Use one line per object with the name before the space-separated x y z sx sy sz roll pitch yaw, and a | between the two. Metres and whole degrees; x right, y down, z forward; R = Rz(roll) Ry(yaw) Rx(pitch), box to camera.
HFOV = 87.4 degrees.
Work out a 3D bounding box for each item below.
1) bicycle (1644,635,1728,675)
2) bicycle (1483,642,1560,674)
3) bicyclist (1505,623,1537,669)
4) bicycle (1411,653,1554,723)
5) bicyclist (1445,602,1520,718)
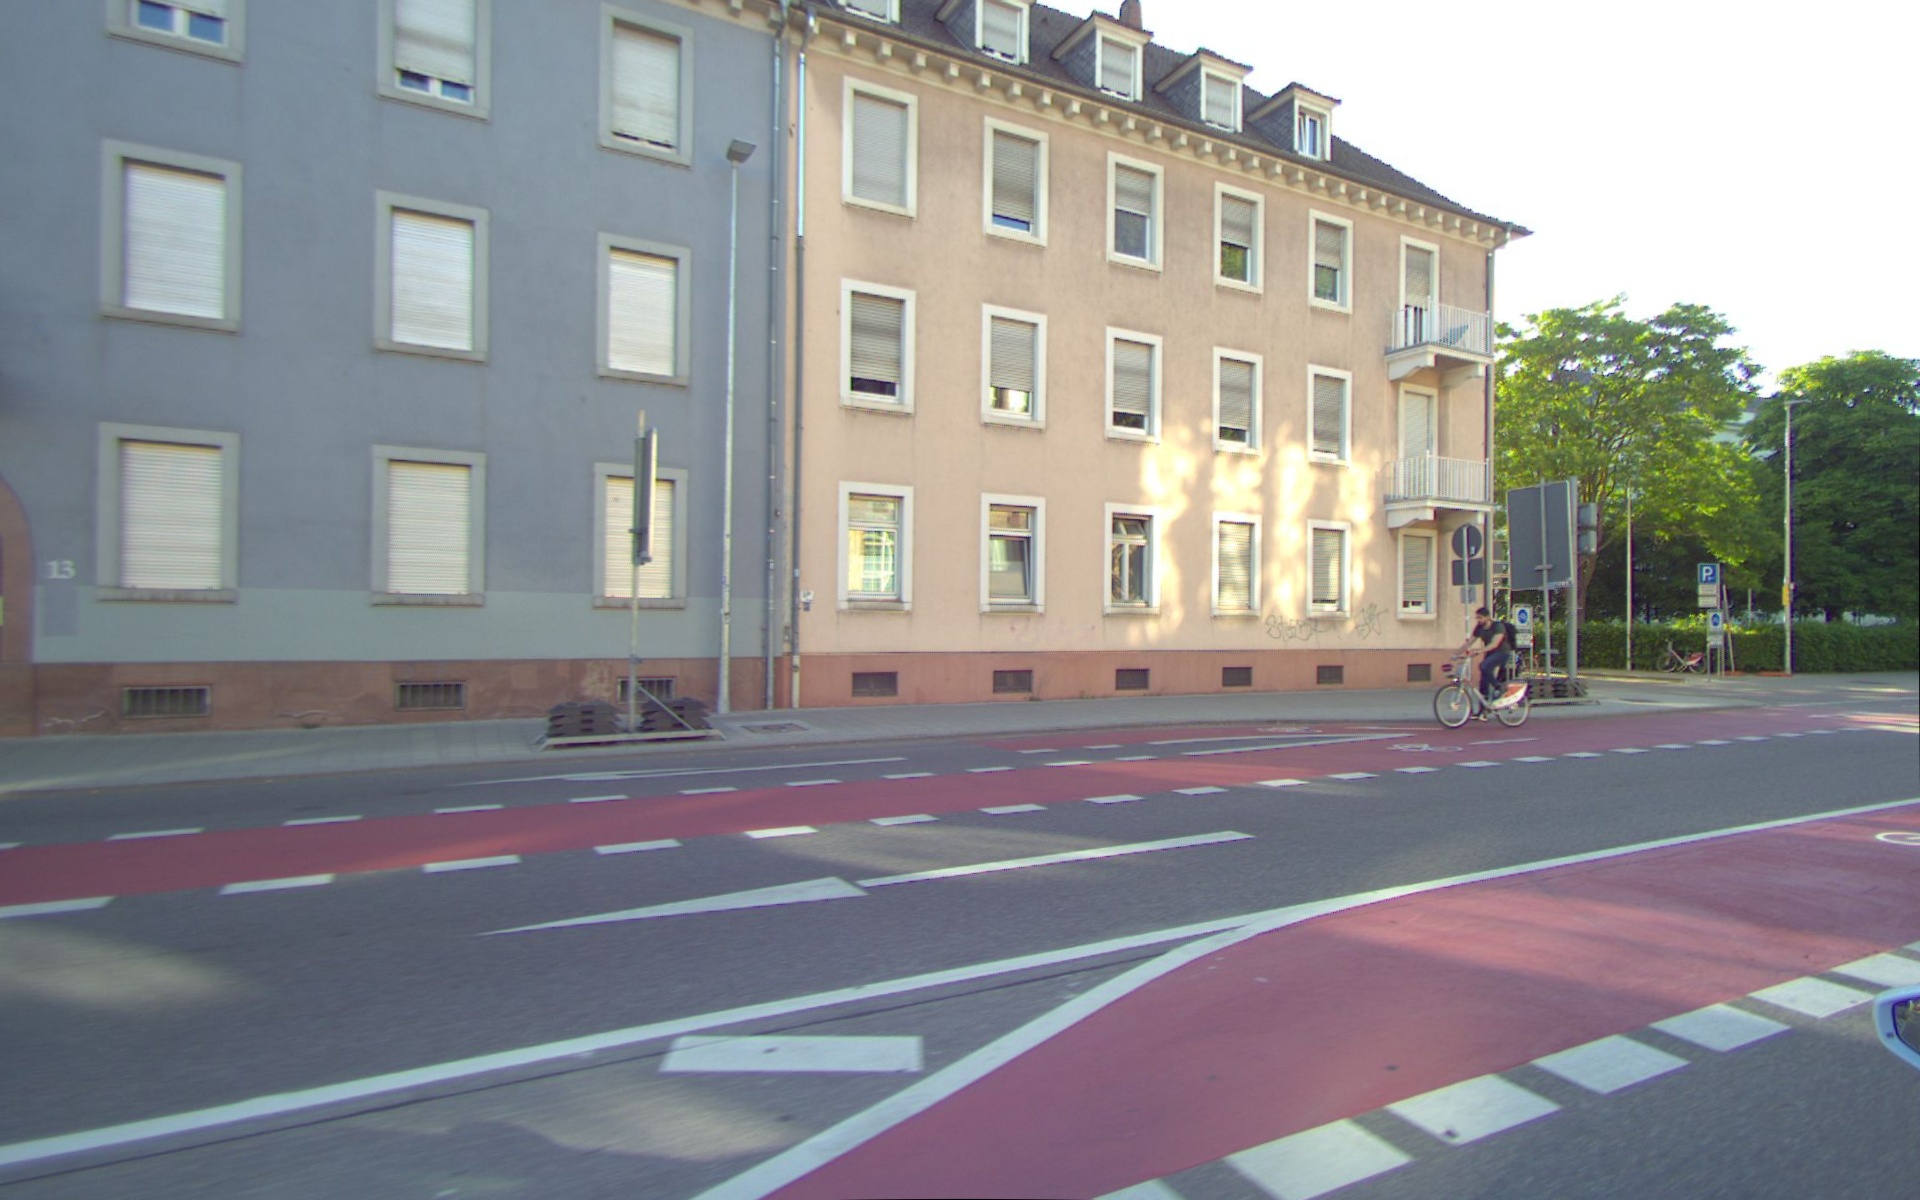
bicycle | 24.052 1.794 33.318 0.552 1.246 2.315 1 -1 -22
bicycle | 18.452 1.908 33.066 0.733 1.008 2.087 2 -3 -37
bicyclist | 18.467 1.510 33.055 0.733 1.505 0.658 2 -3 -38
bicycle | 7.960 1.318 15.309 2.075 1.009 0.646 0 -2 -18
bicyclist | 7.978 0.910 15.350 0.727 1.732 0.635 0 -3 -18
